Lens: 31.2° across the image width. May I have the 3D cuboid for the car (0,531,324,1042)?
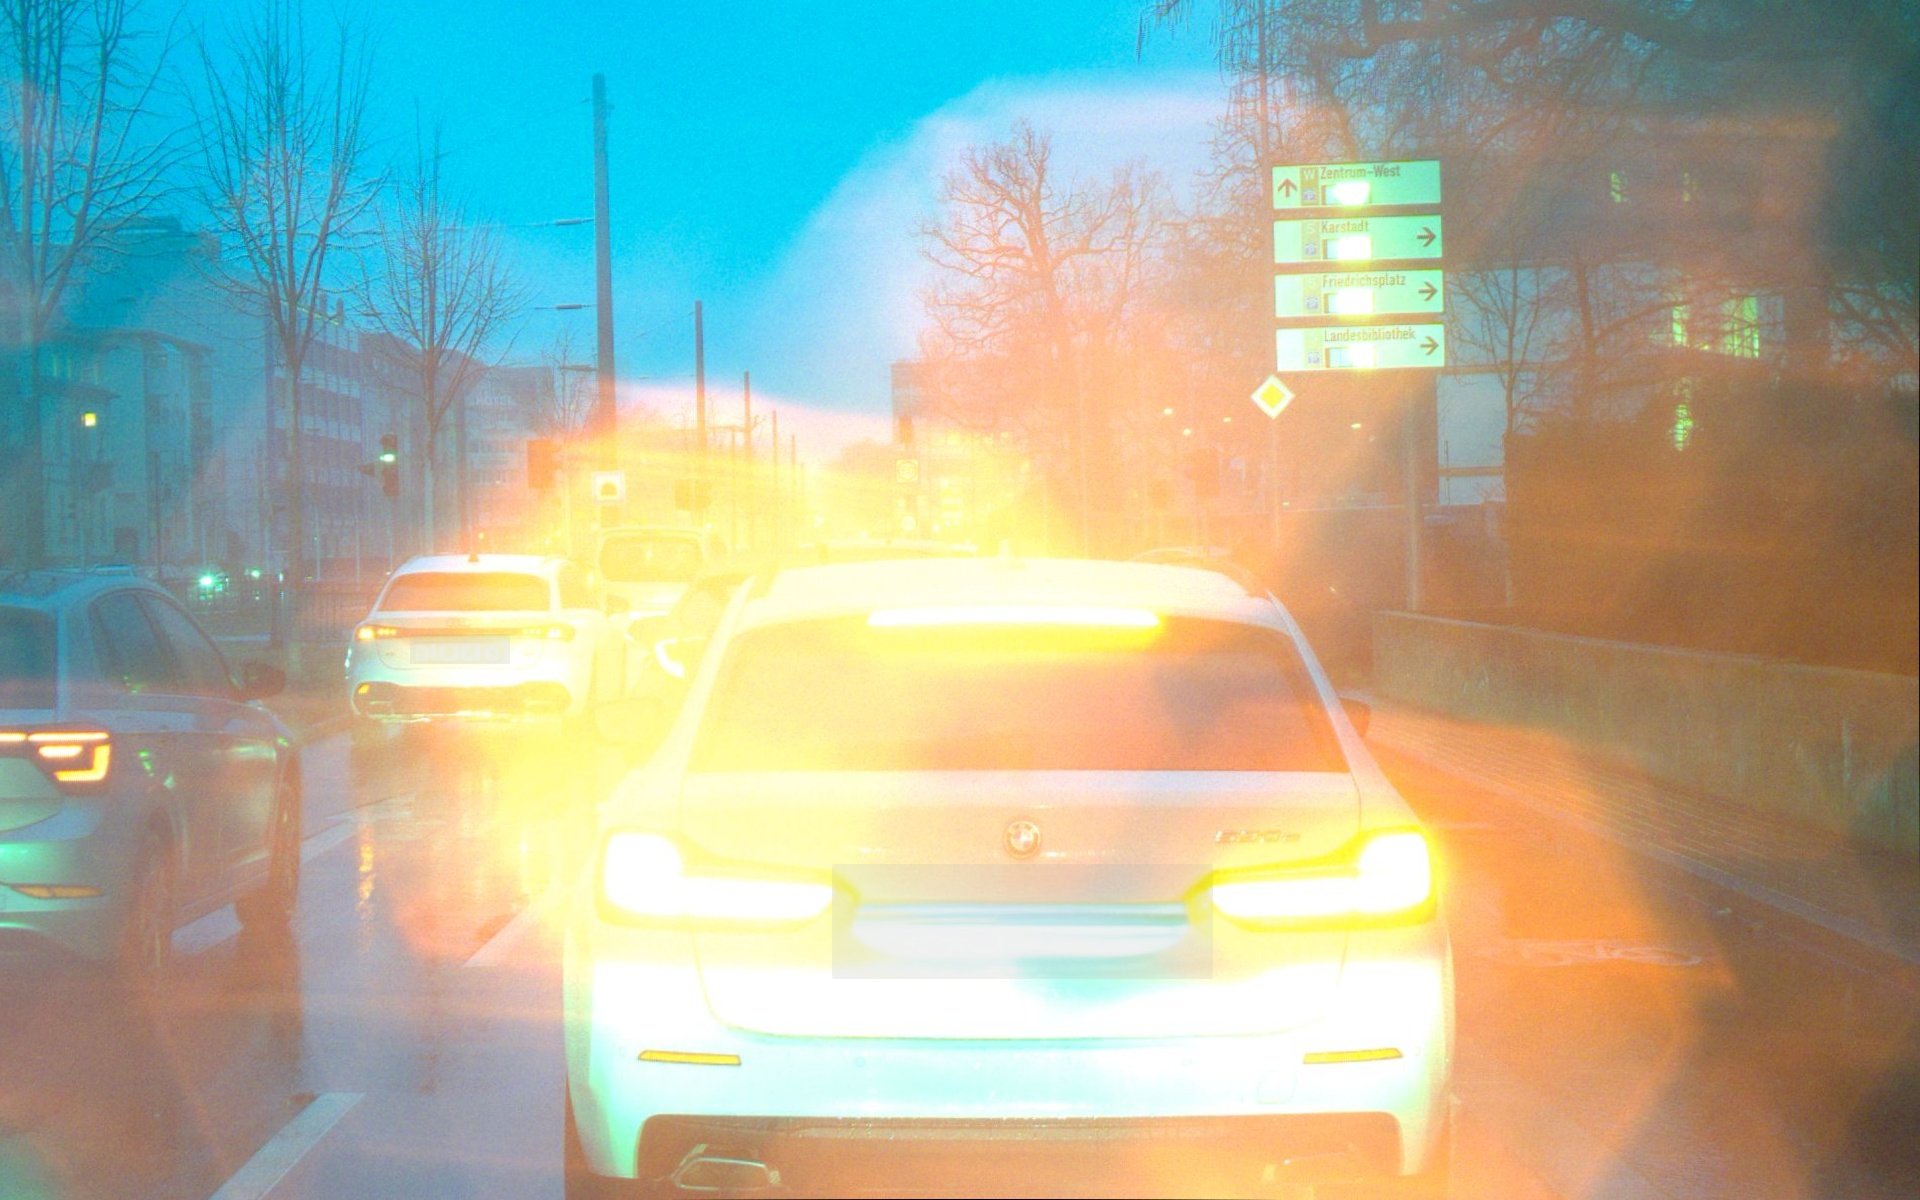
[{"bbox_3d":[-3.426,0.518,12.243,1.693,1.528,4.000,0,1,-2],"label":"car"}]

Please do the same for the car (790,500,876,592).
[{"bbox_3d":[-2.392,-1.001,64.163,1.505,1.647,2.845,1,1,-4],"label":"car"}]

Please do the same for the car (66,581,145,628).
[{"bbox_3d":[-24.564,0.105,98.967,1.690,1.273,4.149,-1,1,-7],"label":"car"}]

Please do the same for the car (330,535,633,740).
[{"bbox_3d":[-3.716,0.229,27.432,1.799,1.461,4.586,-1,1,-1],"label":"car"}]

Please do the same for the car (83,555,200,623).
[{"bbox_3d":[-20.103,-0.290,84.587,1.993,1.597,4.000,1,1,-2],"label":"car"}]

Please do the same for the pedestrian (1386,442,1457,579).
[{"bbox_3d":[6.905,-1.333,51.509,0.959,2.007,1.007,-1,1,4],"label":"pedestrian"}]

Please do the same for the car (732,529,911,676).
[{"bbox_3d":[-1.400,-0.012,35.925,1.737,1.415,3.703,-1,1,-1],"label":"car"}]

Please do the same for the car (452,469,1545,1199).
[{"bbox_3d":[0.045,0.522,8.412,1.862,1.550,4.938,-1,1,-1],"label":"car"}]

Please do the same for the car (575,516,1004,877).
[{"bbox_3d":[-0.745,0.385,16.563,1.800,1.505,3.895,-1,1,-1],"label":"car"}]

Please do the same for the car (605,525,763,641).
[{"bbox_3d":[-3.585,-0.250,45.300,1.737,1.415,4.394,-1,1,-1],"label":"car"}]

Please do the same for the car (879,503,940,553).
[{"bbox_3d":[-1.492,-2.137,101.992,1.737,1.415,4.146,-1,1,-1],"label":"car"}]

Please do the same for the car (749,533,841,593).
[{"bbox_3d":[-3.695,-0.834,77.474,1.930,1.284,4.000,1,1,-1],"label":"car"}]
